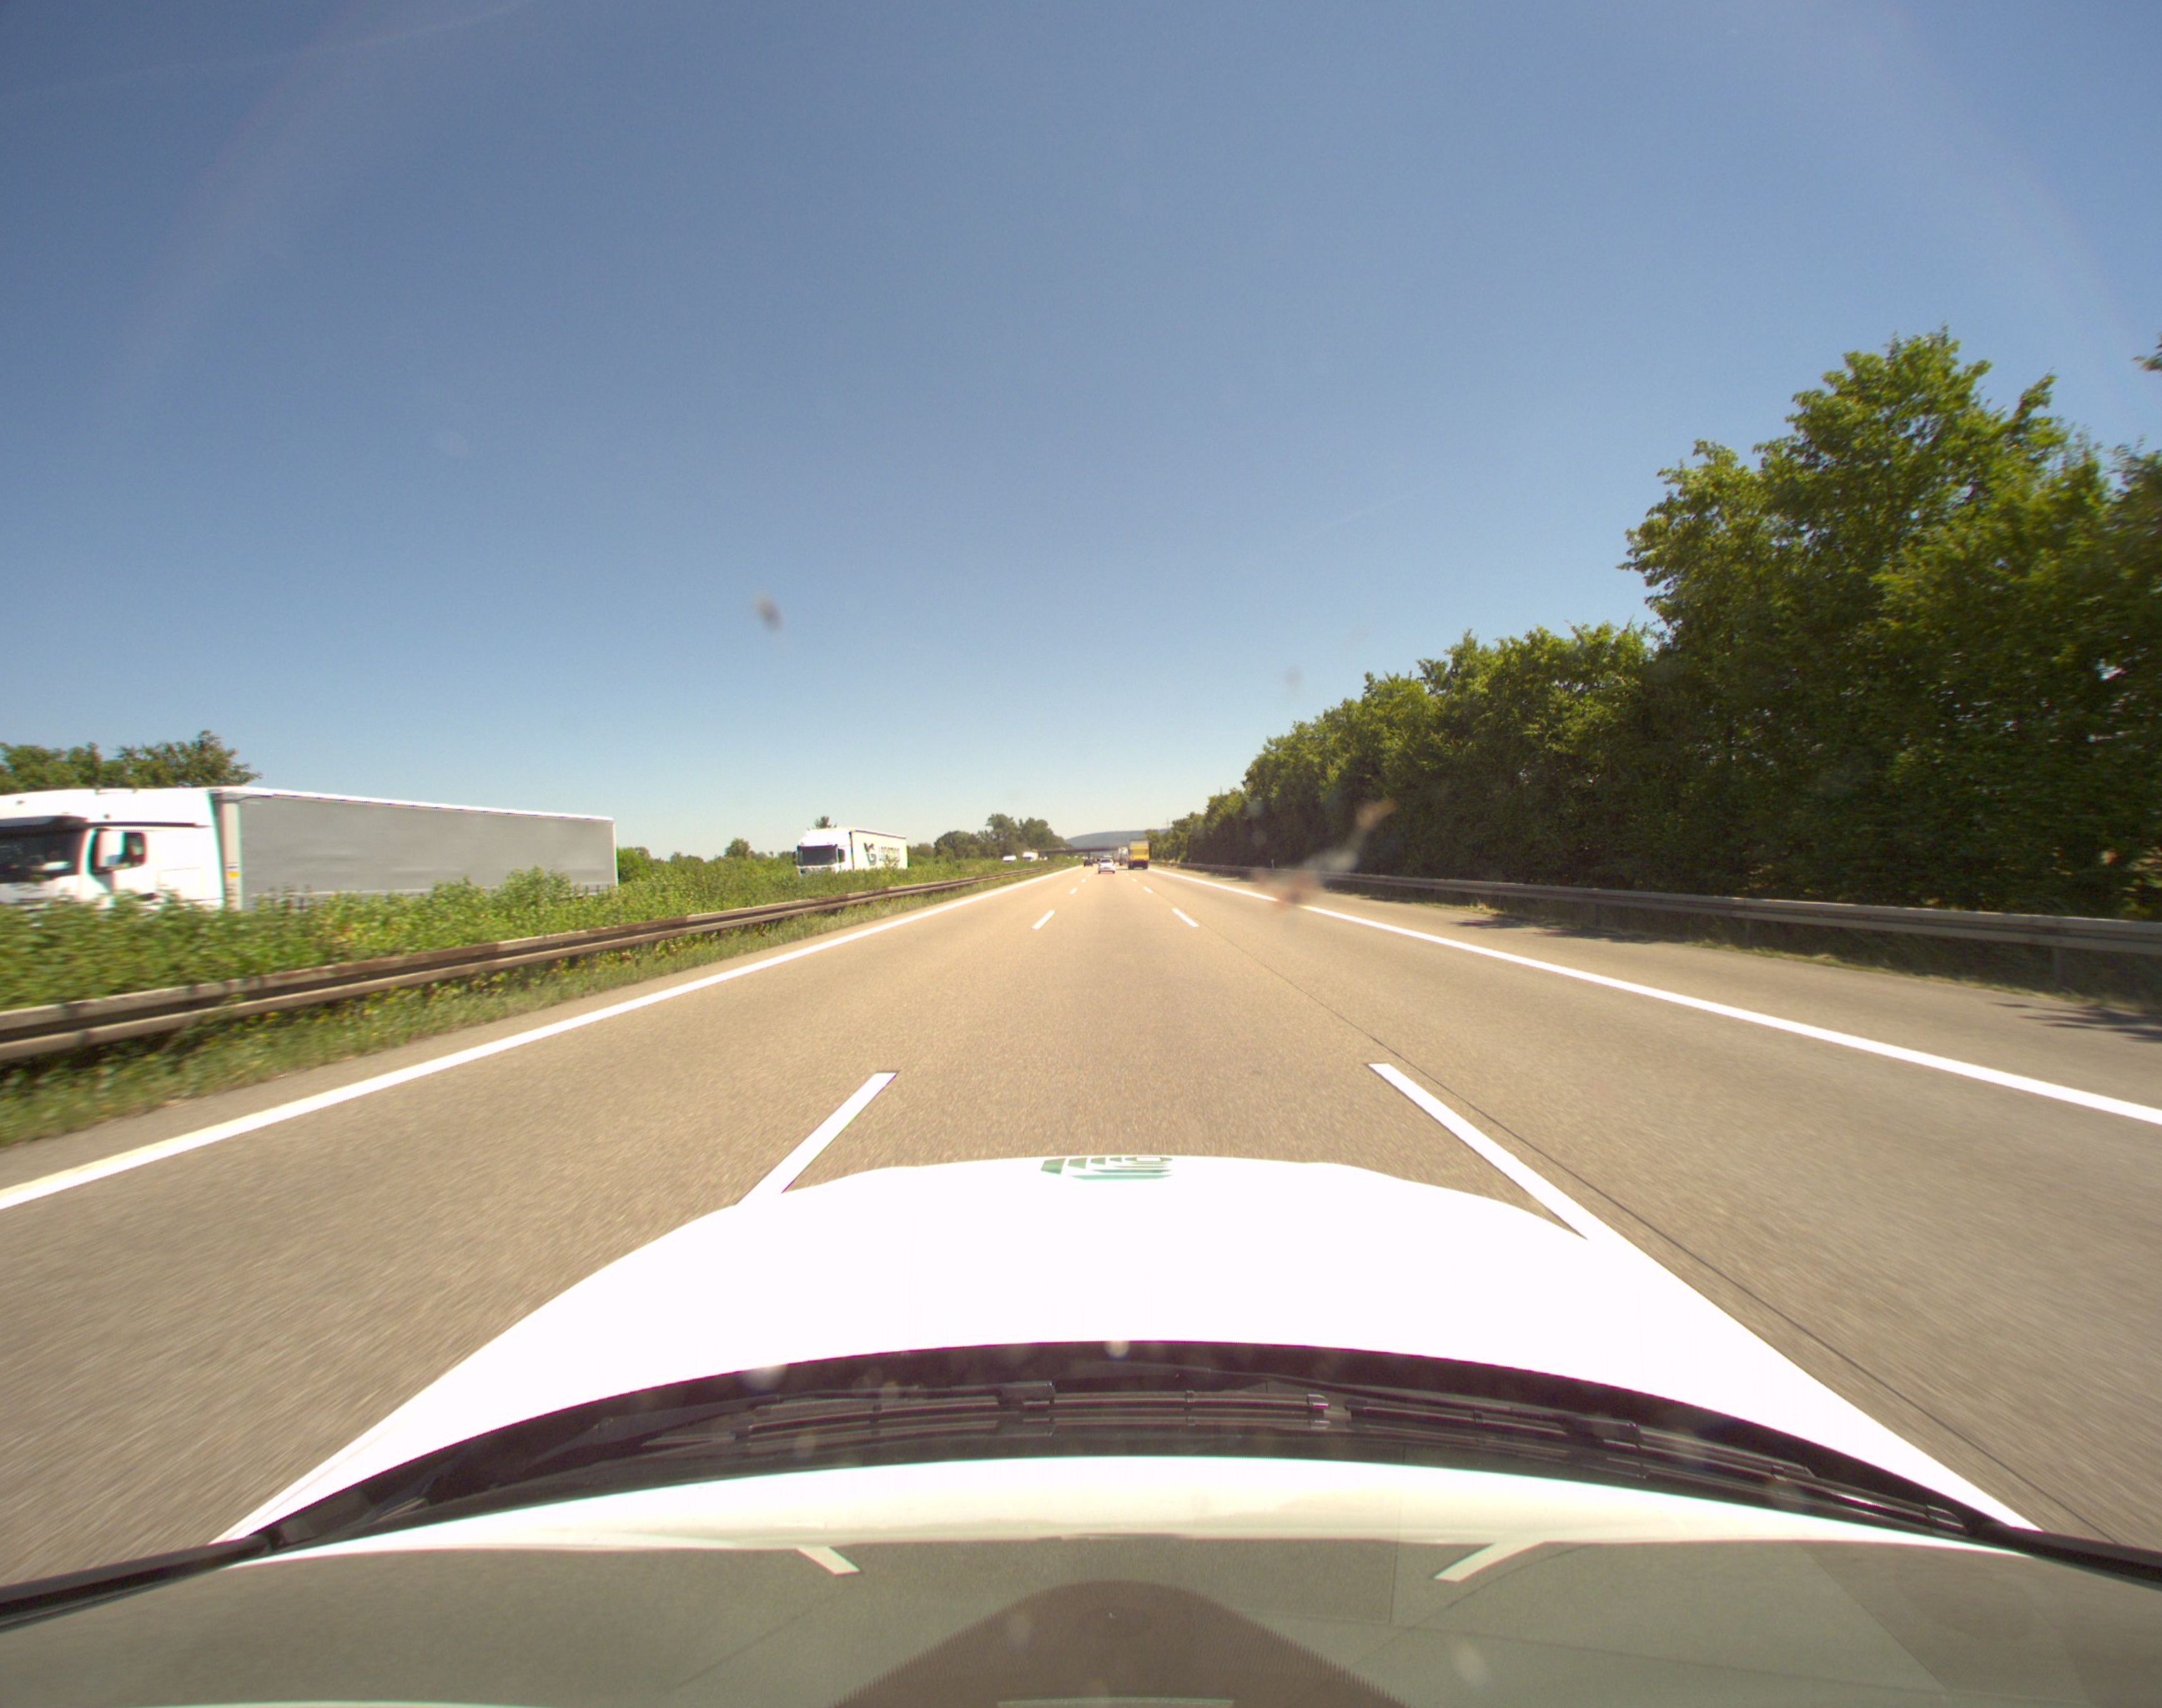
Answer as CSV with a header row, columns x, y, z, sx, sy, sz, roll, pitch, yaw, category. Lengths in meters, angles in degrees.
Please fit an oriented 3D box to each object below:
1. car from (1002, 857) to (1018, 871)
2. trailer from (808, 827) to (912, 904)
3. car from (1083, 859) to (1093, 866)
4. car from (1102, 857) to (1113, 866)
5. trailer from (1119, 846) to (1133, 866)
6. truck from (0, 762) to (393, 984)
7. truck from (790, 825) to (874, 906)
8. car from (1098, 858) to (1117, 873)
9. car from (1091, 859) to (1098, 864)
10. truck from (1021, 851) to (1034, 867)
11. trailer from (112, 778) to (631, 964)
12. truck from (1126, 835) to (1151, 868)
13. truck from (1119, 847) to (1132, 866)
x,y,z,sx,sy,sz,roll,pitch,yaw,category
-12.090,1.723,138.959,2.073,2.394,6.734,0,0,1,car
-14.499,0.712,55.076,2.810,4.526,13.872,0,0,2,trailer
1.351,1.676,156.995,1.828,1.386,4.002,0,0,2,car
4.761,1.287,144.674,1.845,1.633,4.002,0,0,2,car
9.375,0.519,170.990,2.570,4.074,11.105,0,0,1,trailer
-19.690,0.370,18.159,2.940,4.063,6.541,0,-1,2,truck
-14.720,0.663,48.669,2.810,4.526,6.541,0,-1,2,truck
2.665,1.170,82.169,1.800,1.468,4.002,0,0,2,car
3.758,2.175,230.544,1.828,1.386,4.002,0,0,2,car
-13.834,1.311,210.749,2.923,3.870,5.753,0,-1,1,truck
-19.454,0.423,24.955,2.943,4.058,14.331,0,0,2,trailer
7.717,-0.262,110.461,2.923,4.200,10.684,0,0,2,truck
9.509,0.568,176.091,2.564,4.072,6.394,0,-1,1,truck
